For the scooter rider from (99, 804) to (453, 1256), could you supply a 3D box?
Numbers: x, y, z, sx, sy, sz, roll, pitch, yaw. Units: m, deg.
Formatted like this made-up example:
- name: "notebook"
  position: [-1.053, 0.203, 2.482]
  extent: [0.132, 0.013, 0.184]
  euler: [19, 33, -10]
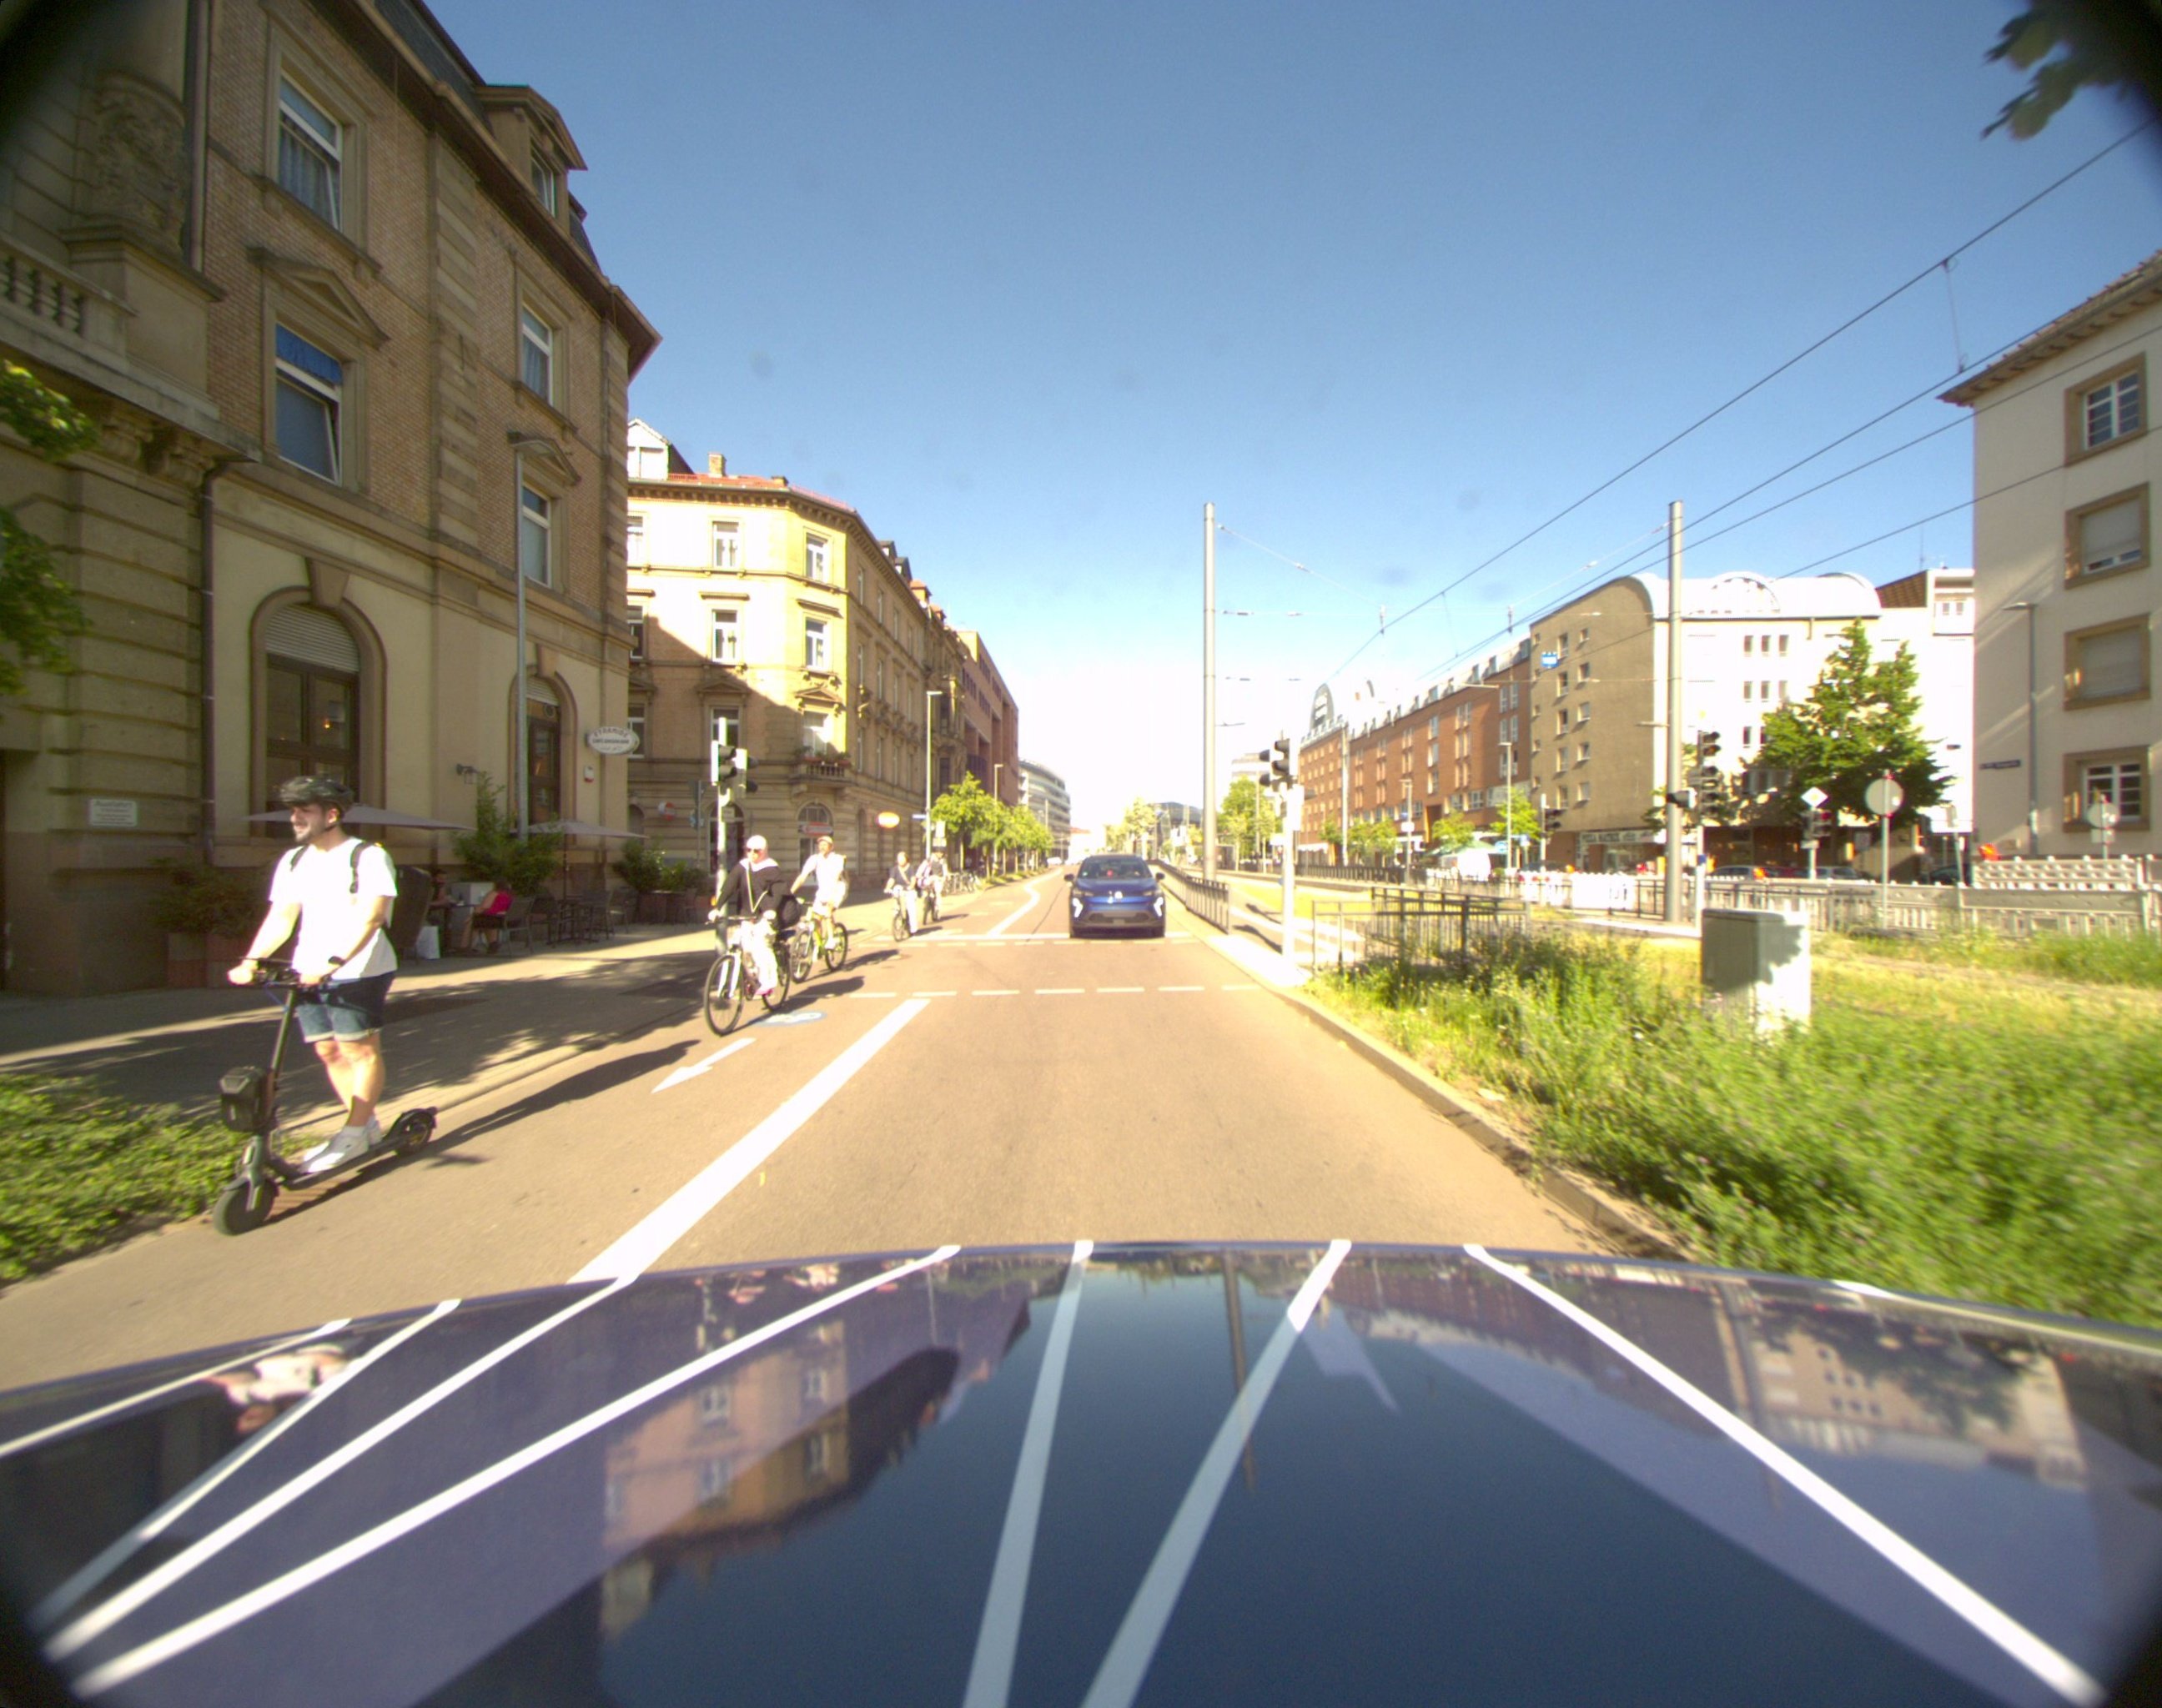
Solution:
- name: "scooter rider"
  position: [-3.690, 0.729, 3.583]
  extent: [0.663, 1.855, 0.898]
  euler: [-1, 0, -1]

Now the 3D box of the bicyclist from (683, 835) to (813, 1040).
- name: "bicyclist"
  position: [-3.159, 0.745, 7.311]
  extent: [0.725, 1.807, 1.091]
  euler: [-1, 0, 0]

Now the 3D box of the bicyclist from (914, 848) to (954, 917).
- name: "bicyclist"
  position: [-3.520, 0.677, 18.263]
  extent: [0.725, 1.595, 0.895]
  euler: [-1, 0, 1]

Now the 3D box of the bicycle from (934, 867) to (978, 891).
- name: "bicycle"
  position: [-5.960, 1.206, 36.269]
  extent: [1.903, 1.024, 1.030]
  euler: [2, 1, -2]

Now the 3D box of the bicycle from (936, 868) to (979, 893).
- name: "bicycle"
  position: [-5.630, 1.192, 34.754]
  extent: [1.876, 1.043, 0.608]
  euler: [2, 1, -4]

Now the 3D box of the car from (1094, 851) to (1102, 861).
- name: "car"
  position: [4.061, 0.458, 178.744]
  extent: [1.758, 2.471, 4.610]
  euler: [0, 0, 1]

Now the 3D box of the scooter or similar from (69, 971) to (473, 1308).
- name: "scooter or similar"
  position: [-3.675, 1.225, 3.592]
  extent: [0.647, 1.151, 1.150]
  euler: [-1, 0, 0]

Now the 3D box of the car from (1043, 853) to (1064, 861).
- name: "car"
  position: [-5.976, 0.673, 166.027]
  extent: [4.416, 1.546, 1.760]
  euler: [0, 0, 1]

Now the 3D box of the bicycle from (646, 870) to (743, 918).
- name: "bicycle"
  position: [-10.407, 1.074, 20.482]
  extent: [2.216, 1.224, 0.818]
  euler: [0, -3, 7]

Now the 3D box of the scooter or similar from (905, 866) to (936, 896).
- name: "scooter or similar"
  position: [-6.551, 1.106, 31.029]
  extent: [1.199, 1.191, 0.487]
  euler: [0, 0, -4]

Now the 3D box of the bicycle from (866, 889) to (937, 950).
- name: "bicycle"
  position: [-3.393, 1.215, 14.554]
  extent: [0.830, 1.000, 1.952]
  euler: [-1, 0, 1]

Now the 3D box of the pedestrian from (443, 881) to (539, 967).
- name: "pedestrian"
  position: [-8.685, 1.015, 11.224]
  extent: [0.719, 1.176, 0.881]
  euler: [0, 1, 0]

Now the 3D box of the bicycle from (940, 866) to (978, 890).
- name: "bicycle"
  position: [-5.996, 1.180, 37.415]
  extent: [1.678, 1.055, 1.134]
  euler: [4, 1, -1]

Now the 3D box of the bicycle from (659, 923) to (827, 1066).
- name: "bicycle"
  position: [-3.148, 1.261, 7.317]
  extent: [0.725, 1.000, 1.952]
  euler: [-1, 0, 0]

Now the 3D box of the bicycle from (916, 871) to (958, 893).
- name: "bicycle"
  position: [-6.278, 1.207, 33.177]
  extent: [1.717, 0.920, 0.497]
  euler: [0, 1, 1]

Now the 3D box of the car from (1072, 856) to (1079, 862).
- name: "car"
  position: [-1.462, 1.179, 193.736]
  extent: [1.745, 1.543, 4.000]
  euler: [0, 0, 1]

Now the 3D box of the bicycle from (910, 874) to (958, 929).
- name: "bicycle"
  position: [-3.507, 1.116, 18.267]
  extent: [0.725, 1.187, 1.952]
  euler: [-1, 0, 1]

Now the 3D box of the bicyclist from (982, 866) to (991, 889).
- name: "bicyclist"
  position: [-6.823, 1.667, 54.725]
  extent: [0.579, 1.608, 0.794]
  euler: [0, 1, -2]

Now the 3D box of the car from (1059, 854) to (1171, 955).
- name: "car"
  position: [0.589, 0.837, 14.624]
  extent: [1.758, 1.576, 4.420]
  euler: [-3, 0, 1]

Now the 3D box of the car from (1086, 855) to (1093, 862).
- name: "car"
  position: [2.049, 1.126, 192.273]
  extent: [1.745, 1.543, 4.000]
  euler: [0, 0, 1]

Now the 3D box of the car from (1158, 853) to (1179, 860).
- name: "car"
  position: [19.029, 0.595, 165.640]
  extent: [4.416, 1.546, 1.760]
  euler: [-1, 0, 1]

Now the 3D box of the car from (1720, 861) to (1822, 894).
- name: "car"
  position: [35.917, 1.187, 39.690]
  extent: [1.473, 1.543, 3.964]
  euler: [-1, 1, -8]

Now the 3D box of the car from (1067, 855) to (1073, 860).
- name: "car"
  position: [-3.052, 0.973, 209.740]
  extent: [1.745, 1.543, 4.000]
  euler: [0, 0, 1]

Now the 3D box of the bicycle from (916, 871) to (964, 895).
- name: "bicycle"
  position: [-6.031, 1.249, 32.543]
  extent: [1.905, 0.906, 0.592]
  euler: [2, 2, 9]

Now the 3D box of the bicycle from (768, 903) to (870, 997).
- name: "bicycle"
  position: [-3.458, 1.225, 10.211]
  extent: [0.725, 1.000, 1.952]
  euler: [-1, 0, -2]

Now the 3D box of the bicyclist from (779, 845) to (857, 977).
- name: "bicyclist"
  position: [-3.456, 0.715, 10.056]
  extent: [0.700, 1.647, 0.977]
  euler: [-1, 0, -3]

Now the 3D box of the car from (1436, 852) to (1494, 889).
- name: "car"
  position: [25.698, 1.021, 51.067]
  extent: [1.997, 2.283, 5.192]
  euler: [-1, 1, 9]

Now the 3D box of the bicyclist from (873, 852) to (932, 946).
- name: "bicyclist"
  position: [-3.400, 0.832, 14.558]
  extent: [0.854, 1.716, 0.989]
  euler: [-1, 0, 1]

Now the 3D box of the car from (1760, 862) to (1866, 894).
- name: "car"
  position: [38.488, 1.231, 40.106]
  extent: [1.715, 1.477, 3.999]
  euler: [-1, 1, 0]

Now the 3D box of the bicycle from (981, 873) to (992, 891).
- name: "bicycle"
  position: [-6.832, 2.008, 54.719]
  extent: [0.579, 1.246, 2.097]
  euler: [0, 1, -2]

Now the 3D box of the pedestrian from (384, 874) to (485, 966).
- name: "pedestrian"
  position: [-9.569, 0.952, 11.278]
  extent: [0.727, 1.275, 0.887]
  euler: [0, 1, 0]

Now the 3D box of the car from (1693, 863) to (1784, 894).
- name: "car"
  position: [33.745, 1.207, 39.109]
  extent: [1.438, 1.419, 3.345]
  euler: [-1, 1, -12]

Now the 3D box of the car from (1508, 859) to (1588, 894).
- name: "car"
  position: [24.542, 1.130, 40.076]
  extent: [1.699, 1.630, 3.999]
  euler: [-1, 1, -1]

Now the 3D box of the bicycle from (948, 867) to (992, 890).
- name: "bicycle"
  position: [-5.665, 1.254, 38.816]
  extent: [2.062, 1.036, 0.847]
  euler: [3, 1, 0]

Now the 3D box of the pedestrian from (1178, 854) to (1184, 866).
- name: "pedestrian"
  position: [15.141, 0.895, 115.019]
  extent: [0.821, 1.878, 0.769]
  euler: [0, 0, 5]
